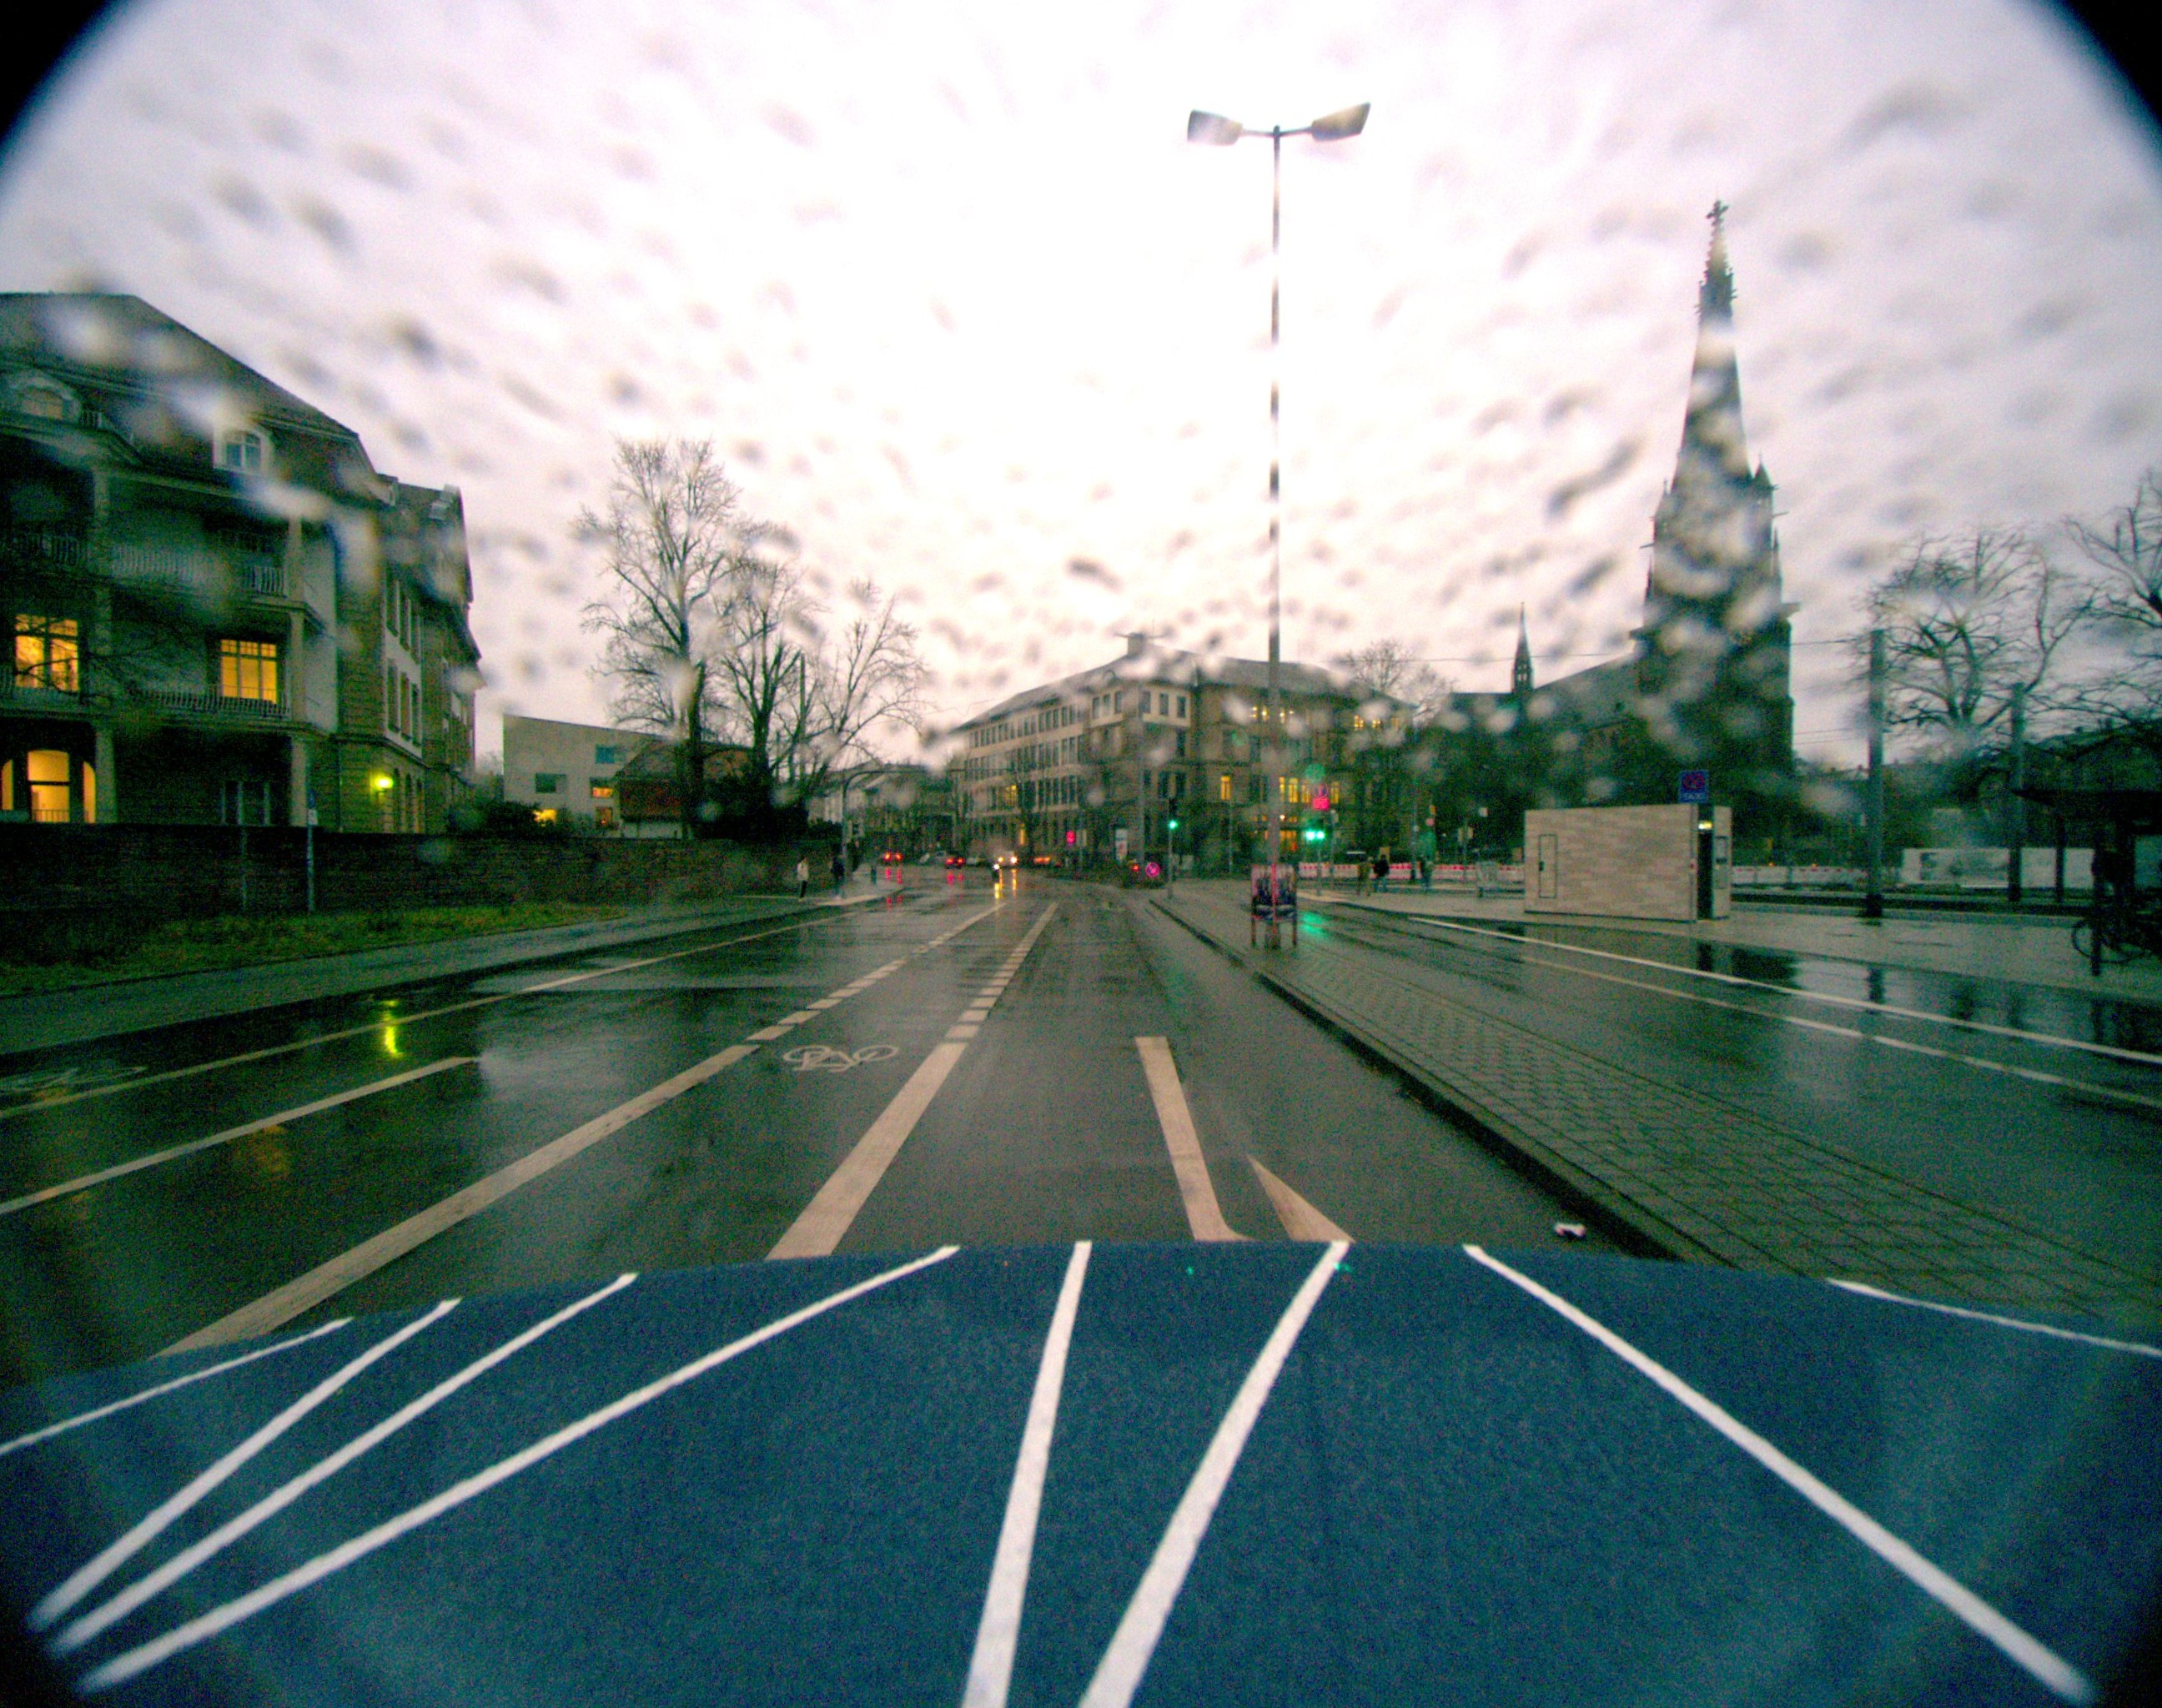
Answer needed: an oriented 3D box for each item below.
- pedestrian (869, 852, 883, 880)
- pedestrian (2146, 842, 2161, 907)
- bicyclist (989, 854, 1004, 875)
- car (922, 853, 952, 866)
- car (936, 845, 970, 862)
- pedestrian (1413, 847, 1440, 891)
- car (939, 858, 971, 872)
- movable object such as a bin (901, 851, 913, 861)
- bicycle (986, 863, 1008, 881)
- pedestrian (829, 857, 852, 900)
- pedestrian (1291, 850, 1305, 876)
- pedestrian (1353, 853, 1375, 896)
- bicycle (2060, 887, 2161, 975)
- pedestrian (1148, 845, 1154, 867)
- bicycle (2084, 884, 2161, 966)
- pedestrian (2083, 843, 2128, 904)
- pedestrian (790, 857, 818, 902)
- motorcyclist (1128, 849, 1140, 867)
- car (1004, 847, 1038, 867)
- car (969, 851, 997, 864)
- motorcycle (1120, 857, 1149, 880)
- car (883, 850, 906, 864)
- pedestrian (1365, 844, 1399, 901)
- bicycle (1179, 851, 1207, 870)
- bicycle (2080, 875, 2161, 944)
[{"bbox_3d":[-12.699,0.752,47.012,0.808,1.675,1.155,1,0,-16],"label":"pedestrian"},{"bbox_3d":[30.849,0.577,21.535,0.715,1.796,0.715,-2,3,-34],"label":"pedestrian"},{"bbox_3d":[-5.408,0.663,48.470,0.718,1.335,0.718,-3,3,-24],"label":"bicyclist"},{"bbox_3d":[-20.065,0.758,106.073,1.771,1.582,4.191,0,2,27],"label":"car"},{"bbox_3d":[-17.010,-0.111,101.046,1.961,2.042,4.629,0,3,29],"label":"car"},{"bbox_3d":[14.546,0.626,31.992,0.605,1.803,0.825,-4,1,-8],"label":"pedestrian"},{"bbox_3d":[-13.502,1.124,81.353,1.756,1.370,4.354,1,0,-34],"label":"car"},{"bbox_3d":[-26.322,0.275,114.983,1.341,1.456,0.987,-1,3,19],"label":"movable object such as a bin"},{"bbox_3d":[-5.364,1.158,48.454,0.725,1.084,2.281,-2,0,-23],"label":"bicycle"},{"bbox_3d":[-9.568,0.957,30.210,0.792,1.666,0.729,1,1,-12],"label":"pedestrian"},{"bbox_3d":[16.679,0.687,58.374,0.646,2.003,0.740,-4,4,-44],"label":"pedestrian"},{"bbox_3d":[11.387,0.812,30.603,0.673,1.665,0.731,0,3,32],"label":"pedestrian"},{"bbox_3d":[15.561,1.124,10.794,0.551,1.158,1.938,-3,3,-29],"label":"bicycle"},{"bbox_3d":[6.663,0.198,72.397,0.571,2.003,0.587,-1,3,5],"label":"pedestrian"},{"bbox_3d":[16.629,1.098,11.358,0.551,1.158,1.894,-3,3,-29],"label":"bicycle"},{"bbox_3d":[30.183,0.563,22.382,0.715,1.747,0.715,-2,3,-34],"label":"pedestrian"},{"bbox_3d":[-10.580,0.970,28.978,0.963,1.666,0.778,1,1,-21],"label":"pedestrian"},{"bbox_3d":[3.619,0.261,52.157,0.538,1.187,0.609,-3,3,-28],"label":"motorcyclist"},{"bbox_3d":[-6.621,0.319,84.664,1.908,2.022,4.809,-1,2,19],"label":"car"},{"bbox_3d":[-12.159,0.449,94.363,1.633,1.450,3.831,-1,2,23],"label":"car"},{"bbox_3d":[3.649,0.961,52.223,0.833,1.488,2.308,0,1,-31],"label":"motorcycle"},{"bbox_3d":[-23.583,0.375,95.744,1.763,1.652,4.519,1,0,-28],"label":"car"},{"bbox_3d":[12.898,0.759,32.581,0.996,2.357,1.063,-2,3,-4],"label":"pedestrian"},{"bbox_3d":[10.251,0.616,69.583,2.424,1.679,0.714,-1,3,17],"label":"bicycle"},{"bbox_3d":[19.553,1.019,13.630,0.551,1.158,1.894,-3,3,-29],"label":"bicycle"}]
